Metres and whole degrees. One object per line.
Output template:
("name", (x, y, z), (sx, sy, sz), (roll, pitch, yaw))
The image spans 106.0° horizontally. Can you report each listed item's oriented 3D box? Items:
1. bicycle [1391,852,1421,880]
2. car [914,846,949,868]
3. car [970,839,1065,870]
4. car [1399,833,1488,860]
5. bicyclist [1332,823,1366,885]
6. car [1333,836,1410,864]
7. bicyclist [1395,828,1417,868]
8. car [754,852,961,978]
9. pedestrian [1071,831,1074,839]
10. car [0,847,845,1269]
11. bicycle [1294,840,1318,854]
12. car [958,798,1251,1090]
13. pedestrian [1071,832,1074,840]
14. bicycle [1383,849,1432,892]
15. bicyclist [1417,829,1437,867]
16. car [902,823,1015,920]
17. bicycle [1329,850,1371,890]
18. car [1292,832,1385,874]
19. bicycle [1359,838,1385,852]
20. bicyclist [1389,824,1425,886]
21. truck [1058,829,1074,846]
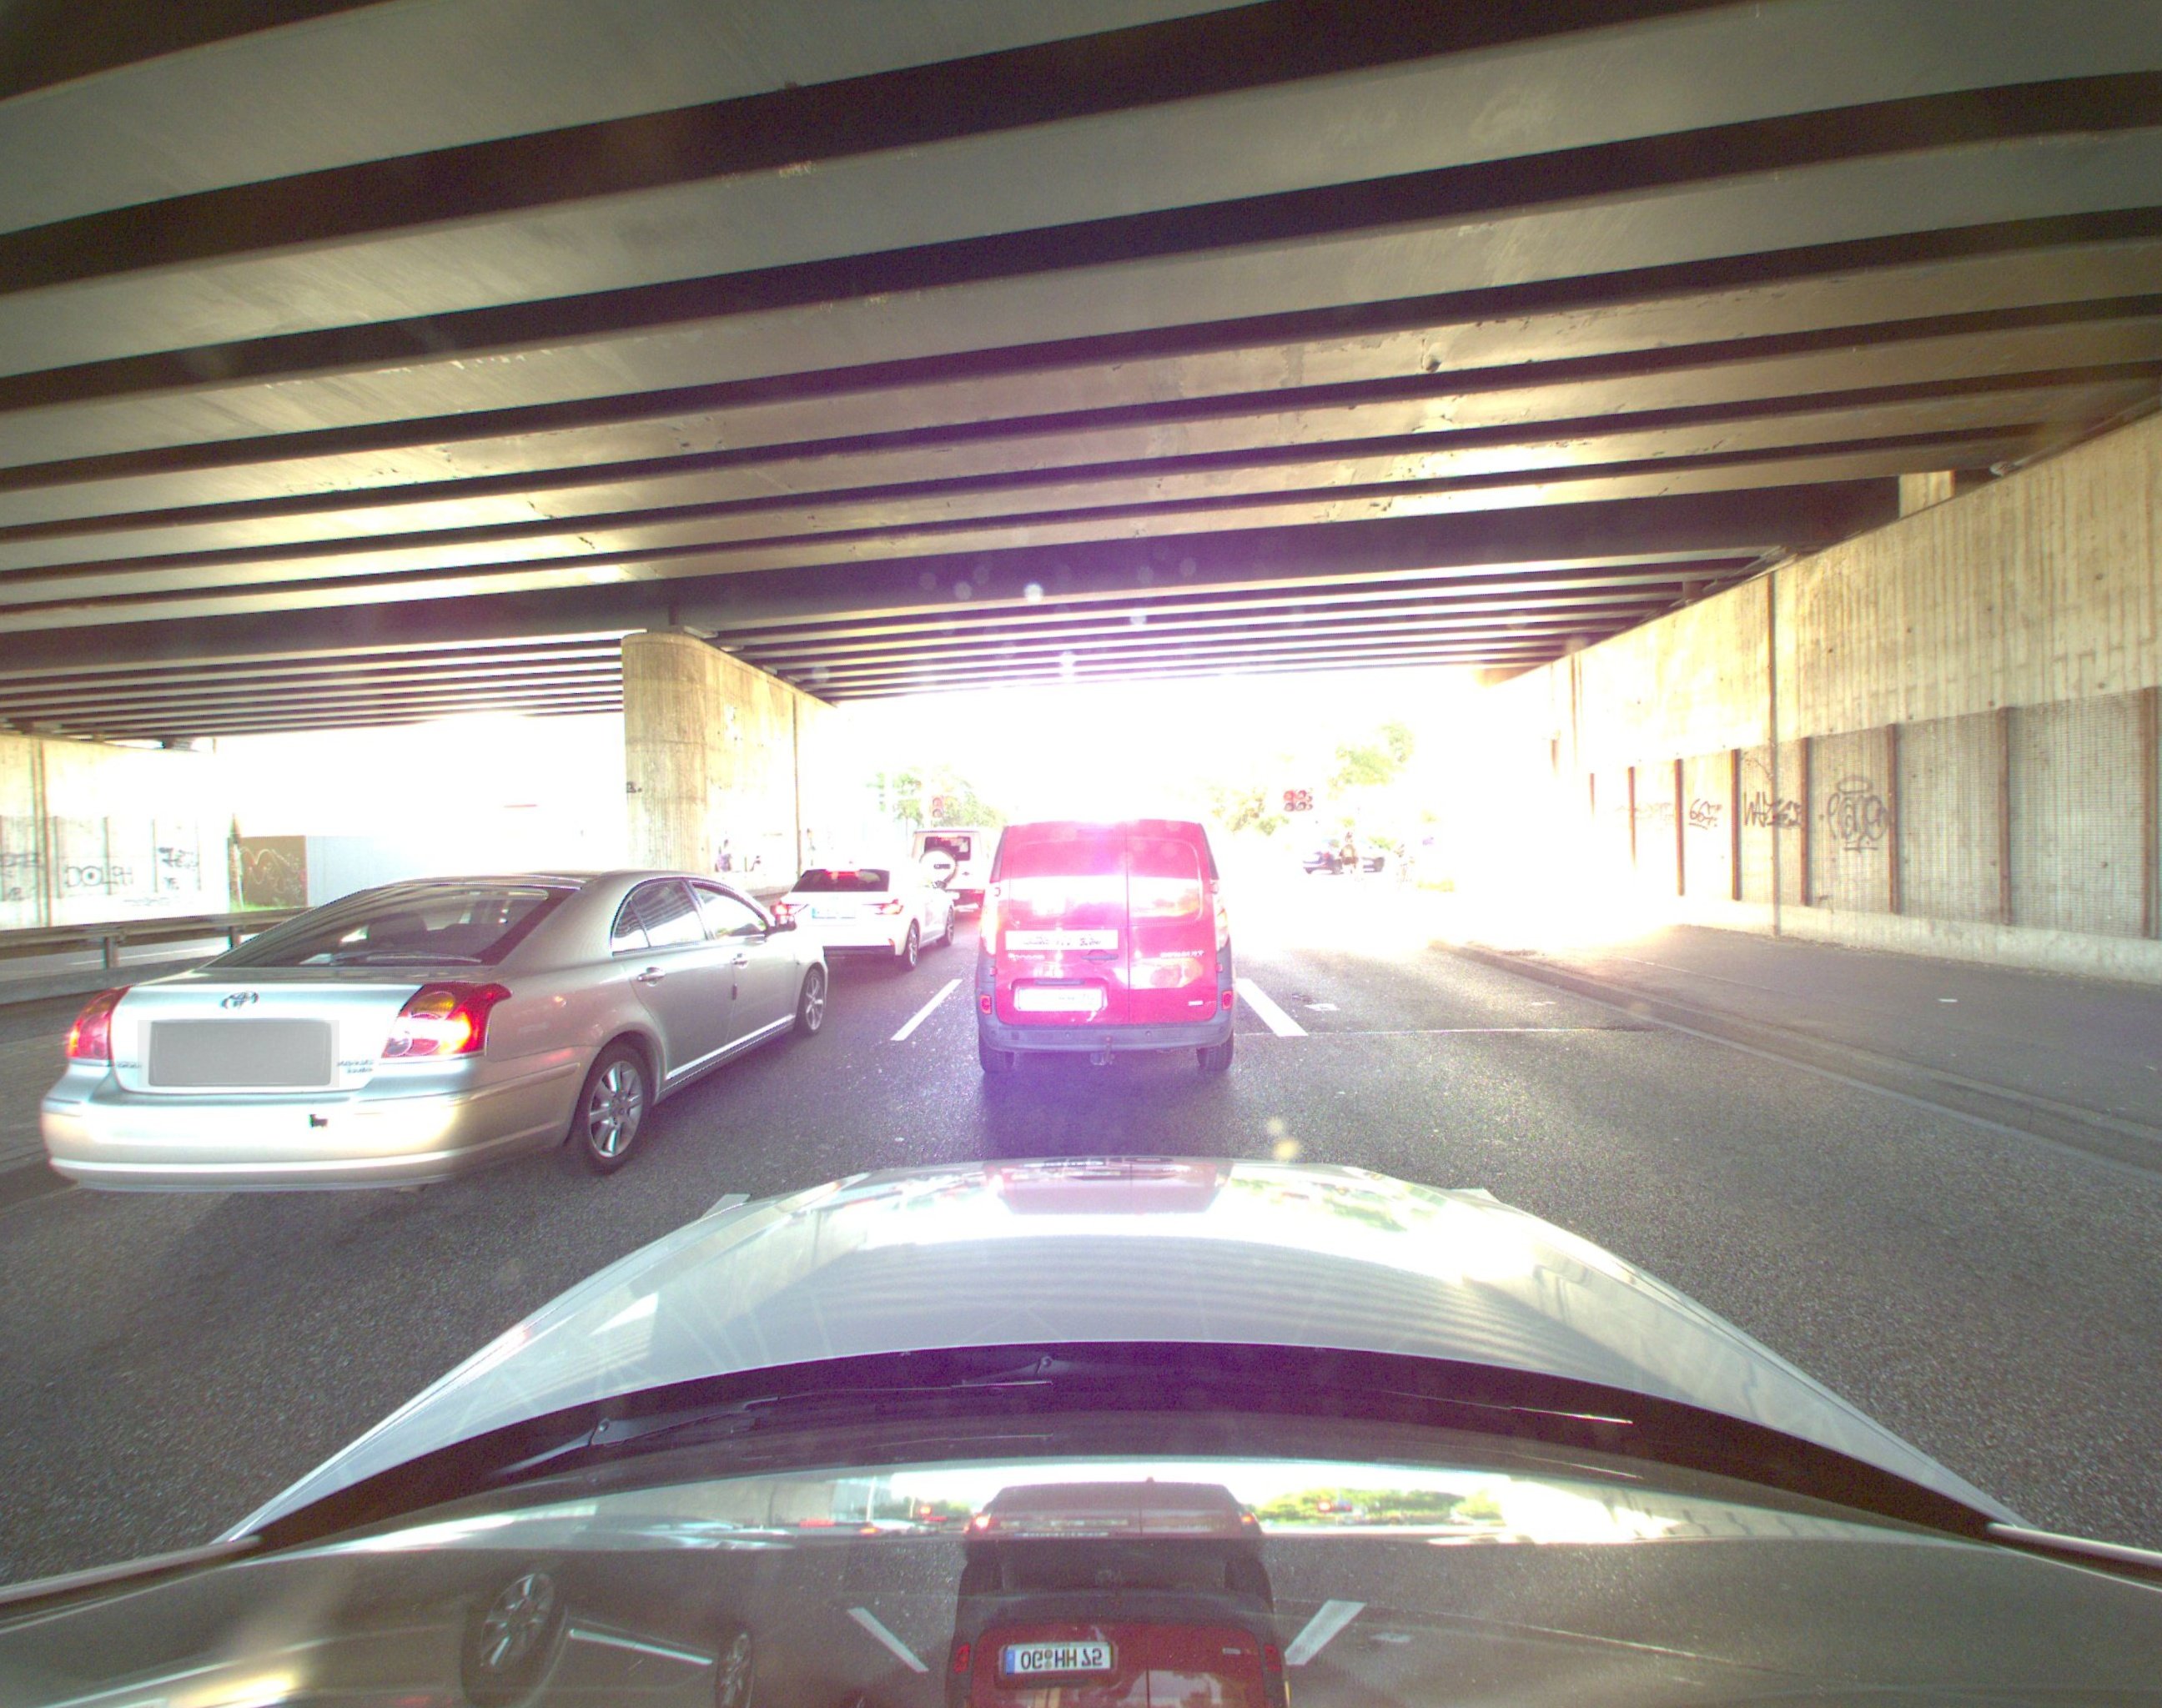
("bicycle", (12.292, 0.442, 30.847), (0.667, 1.023, 2.062), (-1, -1, 12))
("car", (-13.193, 0.254, 72.123), (1.817, 1.737, 4.634), (-4, 0, 4))
("car", (-3.240, 0.046, 41.880), (4.579, 1.514, 1.809), (0, -1, -33))
("car", (21.392, -0.411, 48.196), (4.521, 1.514, 1.832), (0, -1, 9))
("bicyclist", (7.140, -0.001, 21.736), (0.589, 1.613, 0.943), (0, -1, 2))
("car", (16.067, -0.210, 45.188), (3.727, 1.448, 1.698), (-1, 0, 6))
("bicyclist", (12.277, -0.228, 30.779), (0.660, 1.474, 0.753), (-1, -1, 11))
("car", (-2.948, 0.719, 11.599), (1.807, 1.438, 3.732), (-1, 1, 1))
("pedestrian", (-2.230, -4.978, 208.687), (0.736, 2.014, 0.638), (0, -1, 5))
("car", (-3.006, 0.734, 5.094), (1.727, 1.480, 4.319), (-1, 0, 0))
("bicycle", (17.190, -0.503, 62.144), (1.734, 1.023, 0.595), (-1, -1, 10))
("car", (0.206, 0.573, 7.038), (1.798, 1.794, 4.001), (0, -1, 2))
("pedestrian", (-2.275, -4.809, 219.549), (0.936, 2.014, 0.695), (0, -1, 5))
("bicycle", (8.244, 0.405, 20.615), (0.589, 1.023, 1.751), (0, -1, 2))
("bicyclist", (13.684, -0.227, 32.180), (0.644, 1.480, 0.621), (-1, 1, 17))
("car", (-2.708, 0.379, 19.061), (1.794, 1.989, 4.591), (0, -1, 2))
("bicycle", (7.158, 0.422, 21.722), (0.589, 1.023, 1.751), (0, -1, 2))
("car", (11.166, -0.056, 35.207), (3.997, 1.706, 1.706), (-1, 0, -34))
("bicycle", (21.292, -0.633, 59.598), (1.733, 1.023, 0.596), (-1, -1, 13))
("bicyclist", (8.251, 0.022, 20.629), (0.589, 1.548, 0.769), (0, -1, 1))
("truck", (-2.831, -3.049, 153.290), (2.399, 3.026, 6.661), (-4, 0, 3))
